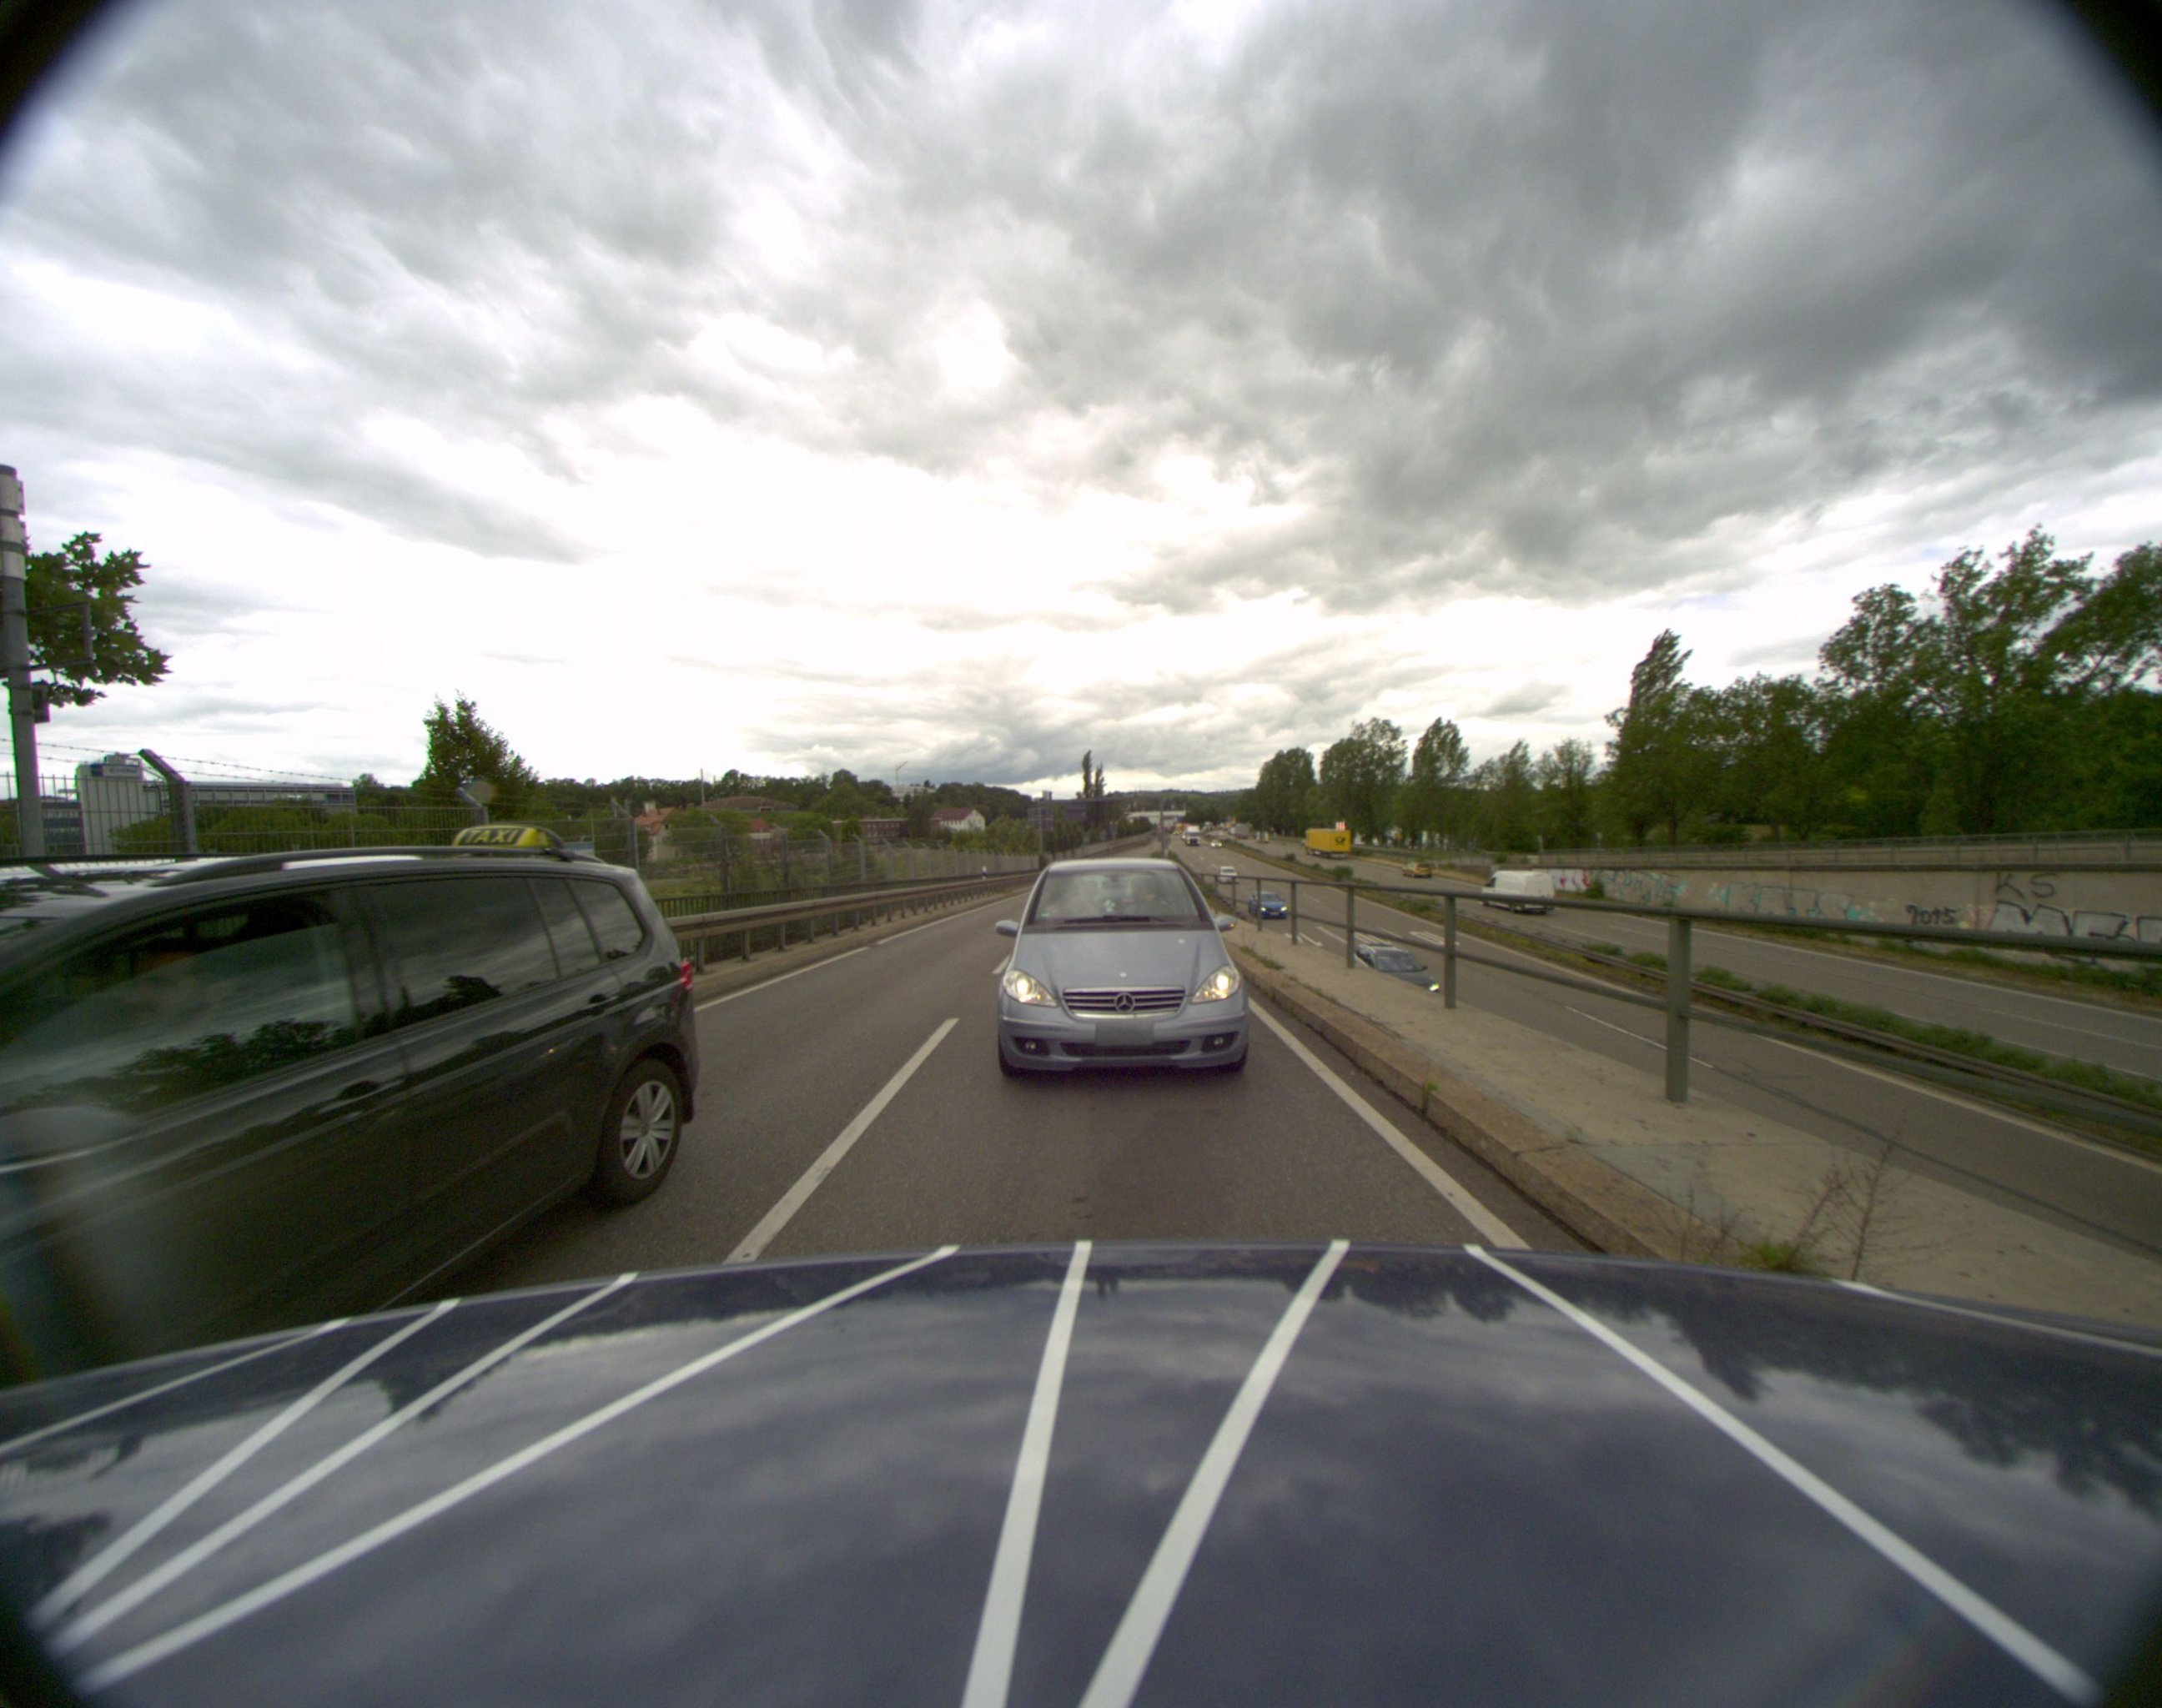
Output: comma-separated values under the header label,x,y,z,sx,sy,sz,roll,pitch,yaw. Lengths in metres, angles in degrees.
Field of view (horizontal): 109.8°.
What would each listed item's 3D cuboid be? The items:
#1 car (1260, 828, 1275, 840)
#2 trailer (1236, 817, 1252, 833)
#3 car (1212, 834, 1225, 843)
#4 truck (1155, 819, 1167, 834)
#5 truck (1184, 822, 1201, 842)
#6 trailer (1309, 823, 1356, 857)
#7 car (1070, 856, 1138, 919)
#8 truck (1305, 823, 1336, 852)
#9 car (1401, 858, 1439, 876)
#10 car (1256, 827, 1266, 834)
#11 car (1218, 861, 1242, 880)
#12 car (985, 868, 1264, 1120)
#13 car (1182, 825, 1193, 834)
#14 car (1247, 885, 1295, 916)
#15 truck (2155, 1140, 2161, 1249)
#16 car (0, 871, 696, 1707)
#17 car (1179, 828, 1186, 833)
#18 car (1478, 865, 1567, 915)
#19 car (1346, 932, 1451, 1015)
label,x,y,z,sx,sy,sz,roll,pitch,yaw
car,41.786,-4.501,170.491,1.998,2.614,6.711,1,3,3
trailer,46.496,-8.329,217.026,2.792,4.117,13.761,-1,3,6
car,26.486,-2.964,146.732,1.854,1.562,4.436,-1,4,2
truck,22.061,-7.601,209.858,3.101,3.990,8.487,-1,4,5
truck,23.173,-4.601,157.631,3.010,4.087,5.872,0,3,4
trailer,35.551,-2.130,107.997,3.247,4.239,13.677,0,3,5
car,0.660,0.962,23.186,1.830,1.701,4.001,-2,-1,1
truck,36.189,-2.512,114.928,3.247,4.159,5.803,0,3,5
car,33.187,1.239,74.461,1.872,1.449,4.151,-1,3,1
car,49.878,-6.591,211.125,1.998,1.890,4.583,2,3,5
car,13.880,1.550,70.922,1.769,1.520,3.335,0,3,3
car,0.307,0.919,6.775,1.743,1.534,3.993,-1,0,1
car,28.272,-6.440,201.914,2.104,2.231,6.498,0,3,3
car,11.850,2.866,47.673,1.998,1.524,3.998,0,3,1
truck,16.505,4.302,7.234,2.239,2.993,7.228,-1,3,1
car,-2.960,0.935,1.894,1.801,1.643,4.150,-2,0,0
car,29.445,-6.771,220.293,1.512,1.365,3.536,0,3,3
car,28.046,2.210,48.603,2.172,2.580,6.099,-1,3,1
car,10.717,3.968,25.979,1.998,2.003,3.999,1,3,3
